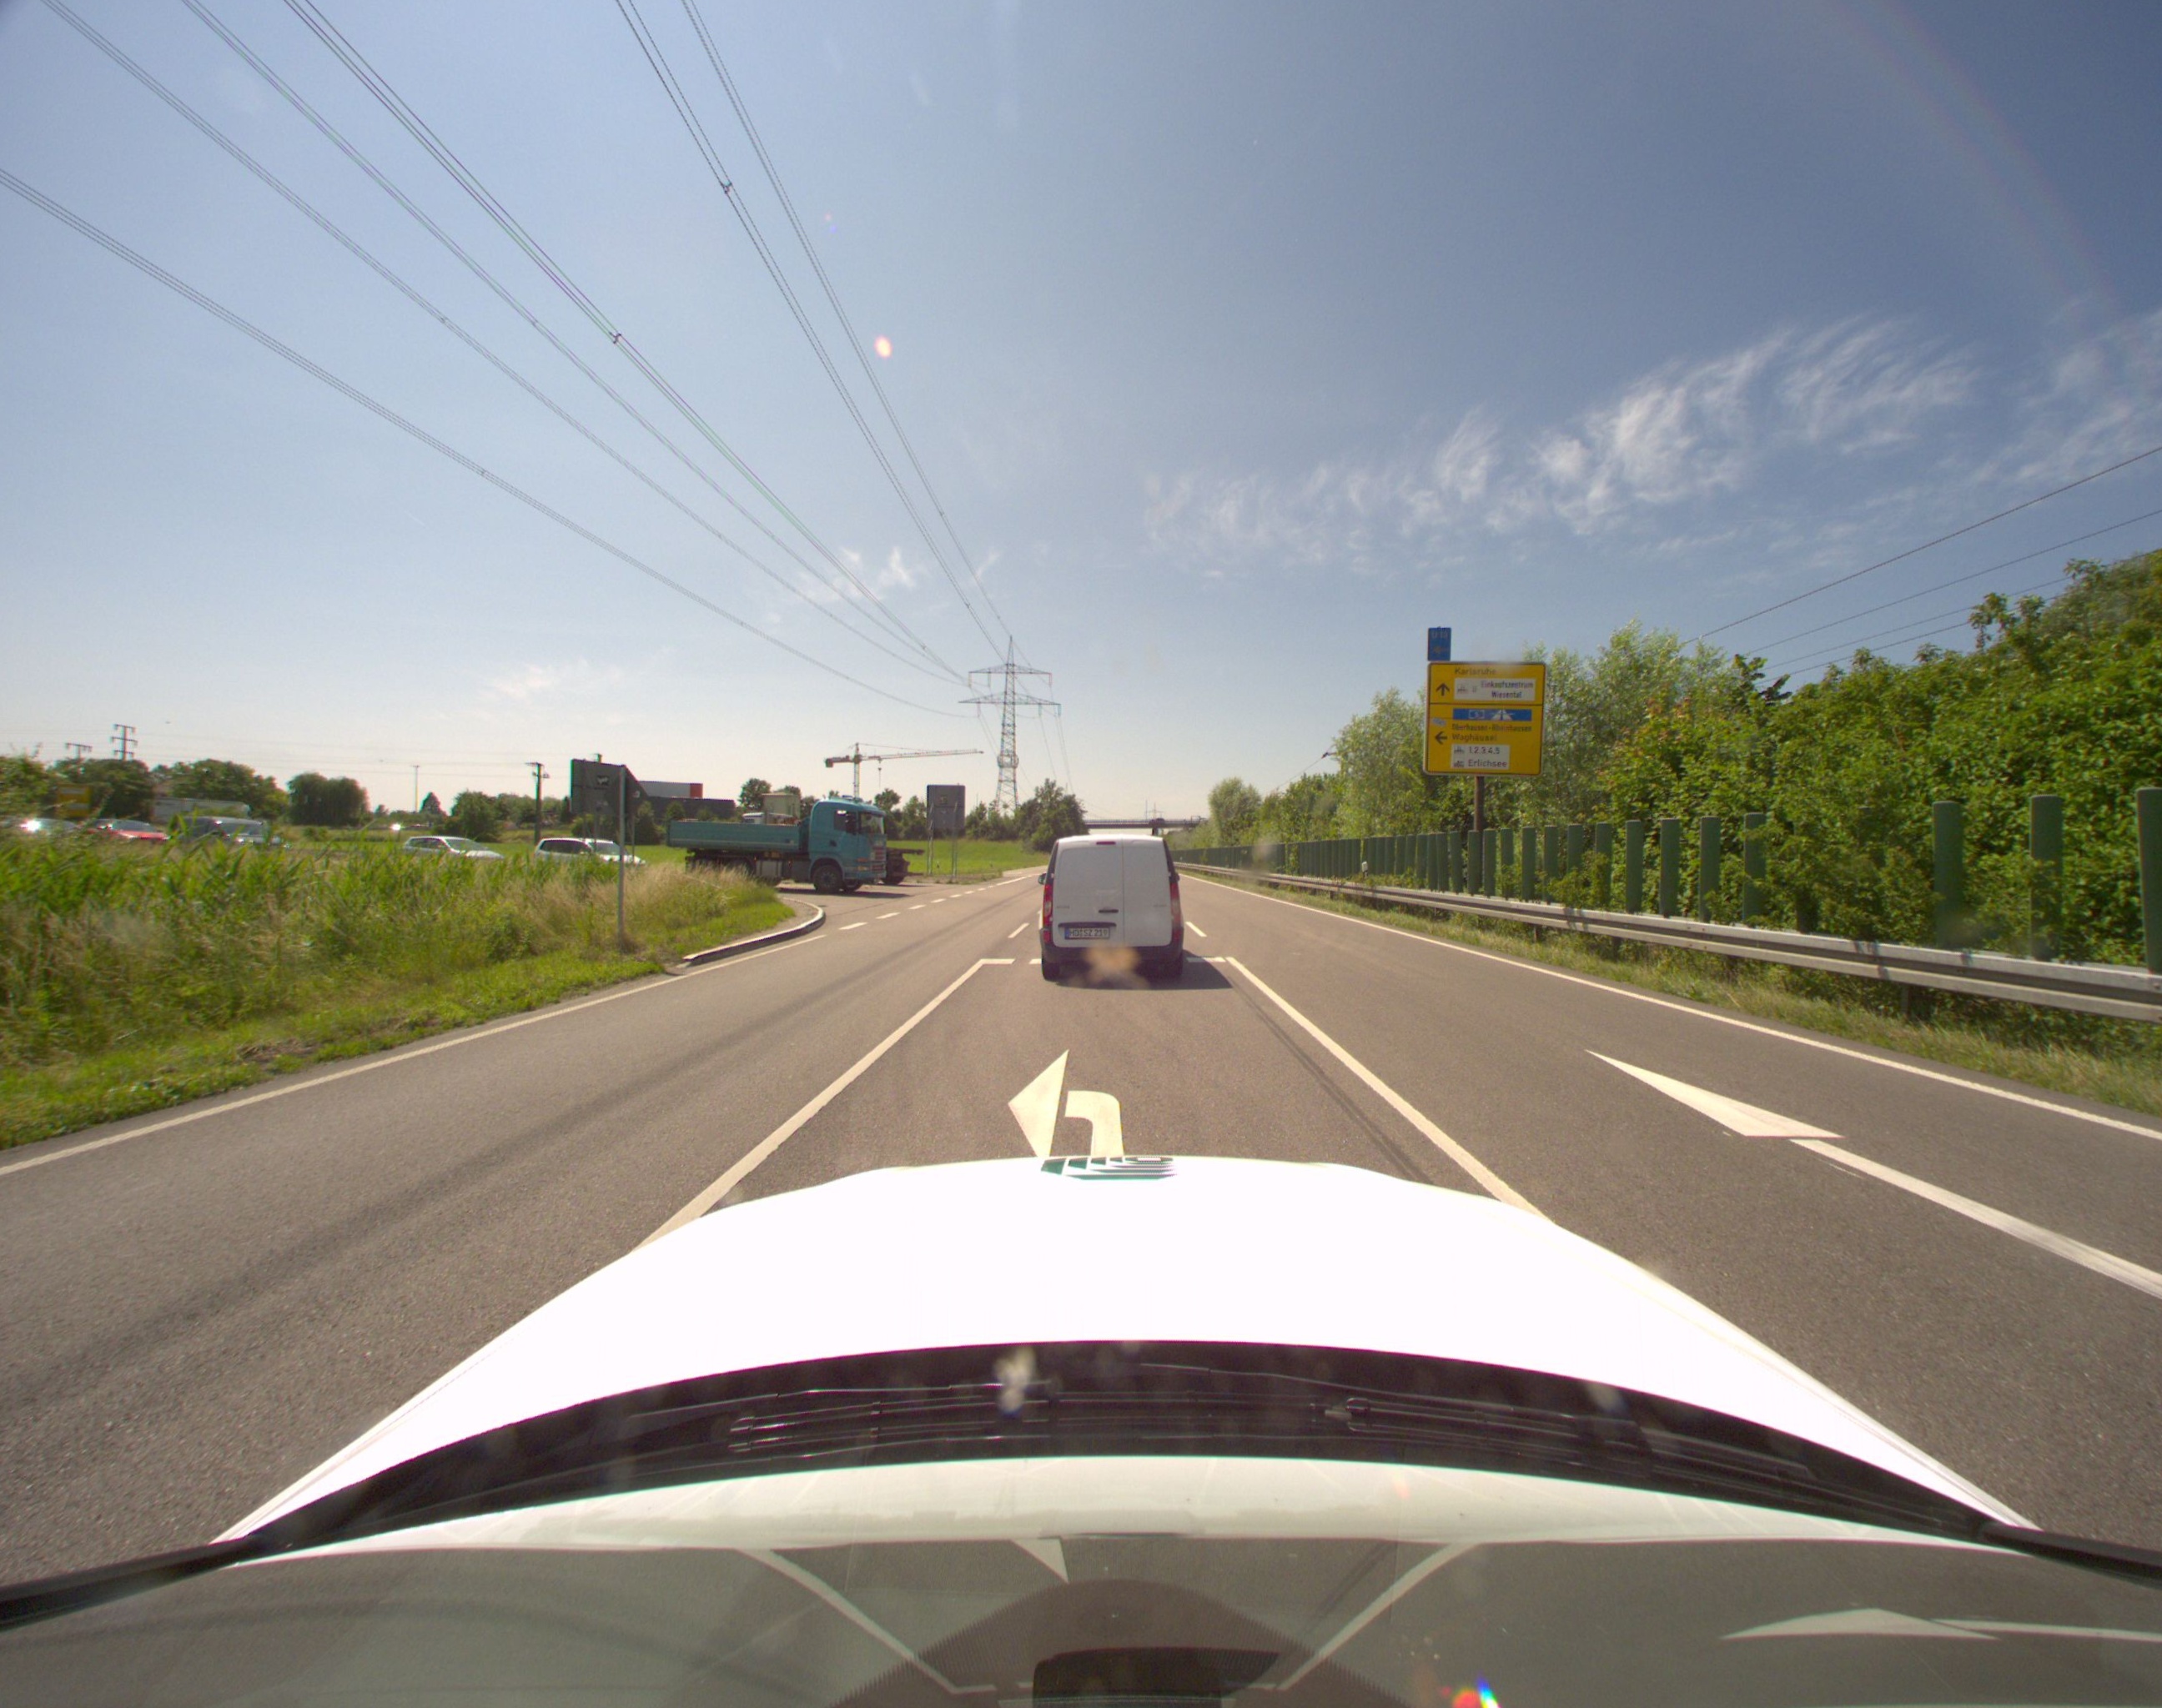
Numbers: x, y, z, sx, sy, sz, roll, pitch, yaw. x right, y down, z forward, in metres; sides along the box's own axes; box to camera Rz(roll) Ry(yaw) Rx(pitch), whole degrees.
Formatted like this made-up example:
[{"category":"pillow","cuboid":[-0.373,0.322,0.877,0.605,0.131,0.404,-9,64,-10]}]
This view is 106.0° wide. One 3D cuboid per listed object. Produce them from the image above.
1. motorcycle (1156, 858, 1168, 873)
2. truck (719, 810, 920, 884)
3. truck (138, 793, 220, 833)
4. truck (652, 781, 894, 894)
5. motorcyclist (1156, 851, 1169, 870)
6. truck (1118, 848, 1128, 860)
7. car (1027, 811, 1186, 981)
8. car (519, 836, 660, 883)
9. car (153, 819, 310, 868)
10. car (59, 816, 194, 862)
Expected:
[{"category":"motorcycle","cuboid":[6.159,0.881,62.156,0.787,1.157,1.902,0,0,1]},{"category":"truck","cuboid":[-12.580,-0.352,38.996,9.583,3.288,2.845,0,1,23]},{"category":"truck","cuboid":[-116.457,-5.115,105.472,3.703,4.646,13.106,1,0,-32]},{"category":"truck","cuboid":[-11.257,-0.617,30.158,7.869,3.734,2.501,2,0,4]},{"category":"motorcyclist","cuboid":[6.175,0.503,61.997,0.886,1.476,1.002,0,0,1]},{"category":"truck","cuboid":[10.094,0.017,197.080,2.365,2.689,8.013,1,0,2]},{"category":"car","cuboid":[0.360,0.488,11.475,1.820,1.971,4.002,-1,0,2]},{"category":"car","cuboid":[-18.517,0.191,30.710,4.506,1.612,1.976,1,0,16]},{"category":"car","cuboid":[-35.201,-0.466,33.802,4.906,1.867,2.094,2,1,10]},{"category":"car","cuboid":[-41.654,-0.656,35.563,4.438,1.849,1.923,1,0,13]}]
